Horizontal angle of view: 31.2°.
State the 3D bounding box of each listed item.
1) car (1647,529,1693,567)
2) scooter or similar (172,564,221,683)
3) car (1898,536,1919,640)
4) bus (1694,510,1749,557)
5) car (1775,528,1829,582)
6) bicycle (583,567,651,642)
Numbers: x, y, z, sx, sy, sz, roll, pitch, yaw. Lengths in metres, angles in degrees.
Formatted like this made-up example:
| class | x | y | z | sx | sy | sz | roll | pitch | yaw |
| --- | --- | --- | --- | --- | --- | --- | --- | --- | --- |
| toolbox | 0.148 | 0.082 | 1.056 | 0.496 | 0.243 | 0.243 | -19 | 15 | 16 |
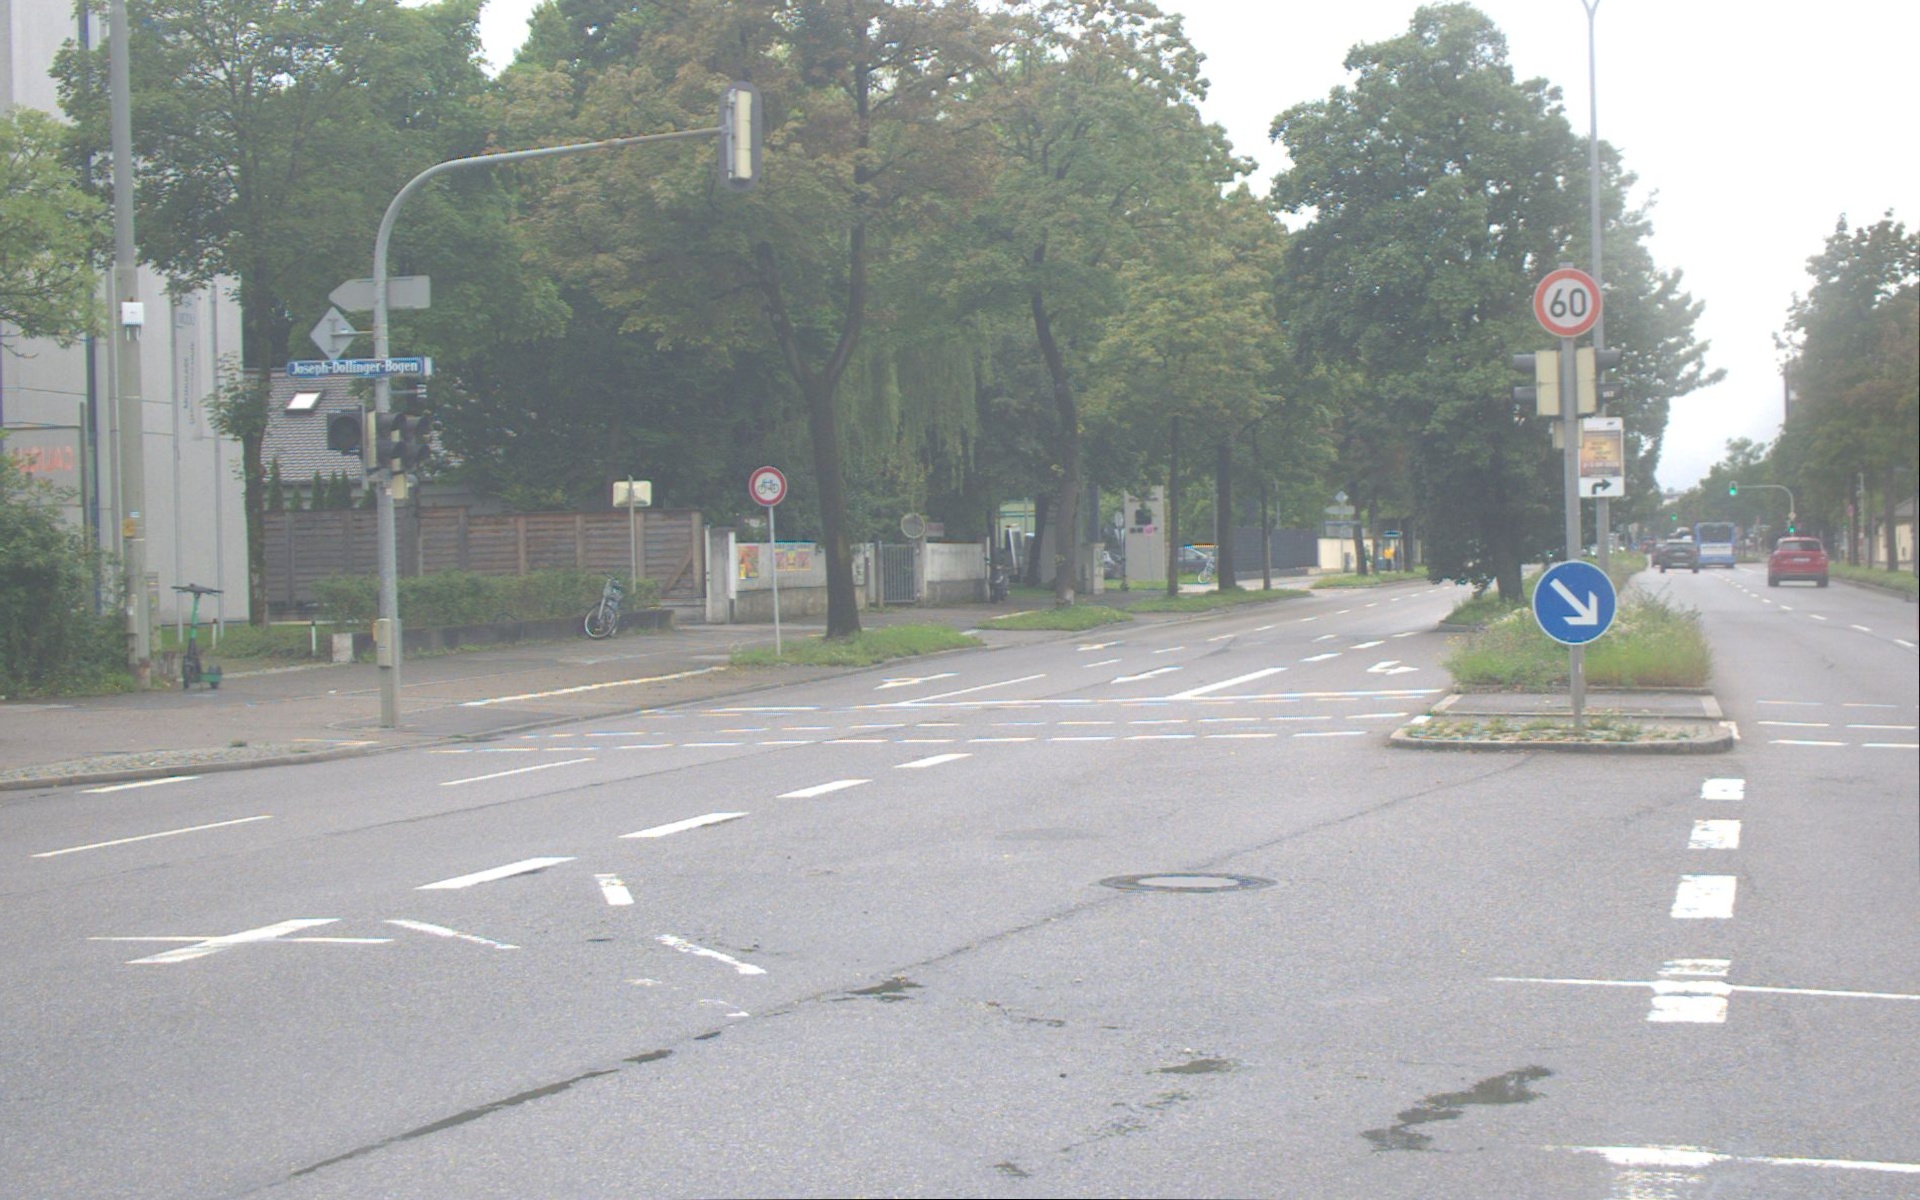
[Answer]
| class | x | y | z | sx | sy | sz | roll | pitch | yaw |
| --- | --- | --- | --- | --- | --- | --- | --- | --- | --- |
| car | 35.285 | -2.600 | 170.919 | 2.085 | 1.859 | 4.384 | 0 | 1 | 10 |
| scooter or similar | -9.343 | 0.277 | 42.087 | 0.370 | 1.419 | 1.406 | 0 | 1 | -4 |
| car | 14.644 | -0.179 | 49.242 | 1.878 | 1.463 | 4.500 | 0 | 1 | 9 |
| bus | 51.616 | -4.492 | 233.330 | 3.222 | 3.116 | 10.341 | 0 | 1 | 10 |
| car | 27.333 | -1.476 | 111.695 | 1.484 | 1.710 | 3.550 | 0 | 1 | 10 |
| bicycle | -6.089 | 0.065 | 61.152 | 0.582 | 1.291 | 2.453 | 0 | 1 | 9 |
